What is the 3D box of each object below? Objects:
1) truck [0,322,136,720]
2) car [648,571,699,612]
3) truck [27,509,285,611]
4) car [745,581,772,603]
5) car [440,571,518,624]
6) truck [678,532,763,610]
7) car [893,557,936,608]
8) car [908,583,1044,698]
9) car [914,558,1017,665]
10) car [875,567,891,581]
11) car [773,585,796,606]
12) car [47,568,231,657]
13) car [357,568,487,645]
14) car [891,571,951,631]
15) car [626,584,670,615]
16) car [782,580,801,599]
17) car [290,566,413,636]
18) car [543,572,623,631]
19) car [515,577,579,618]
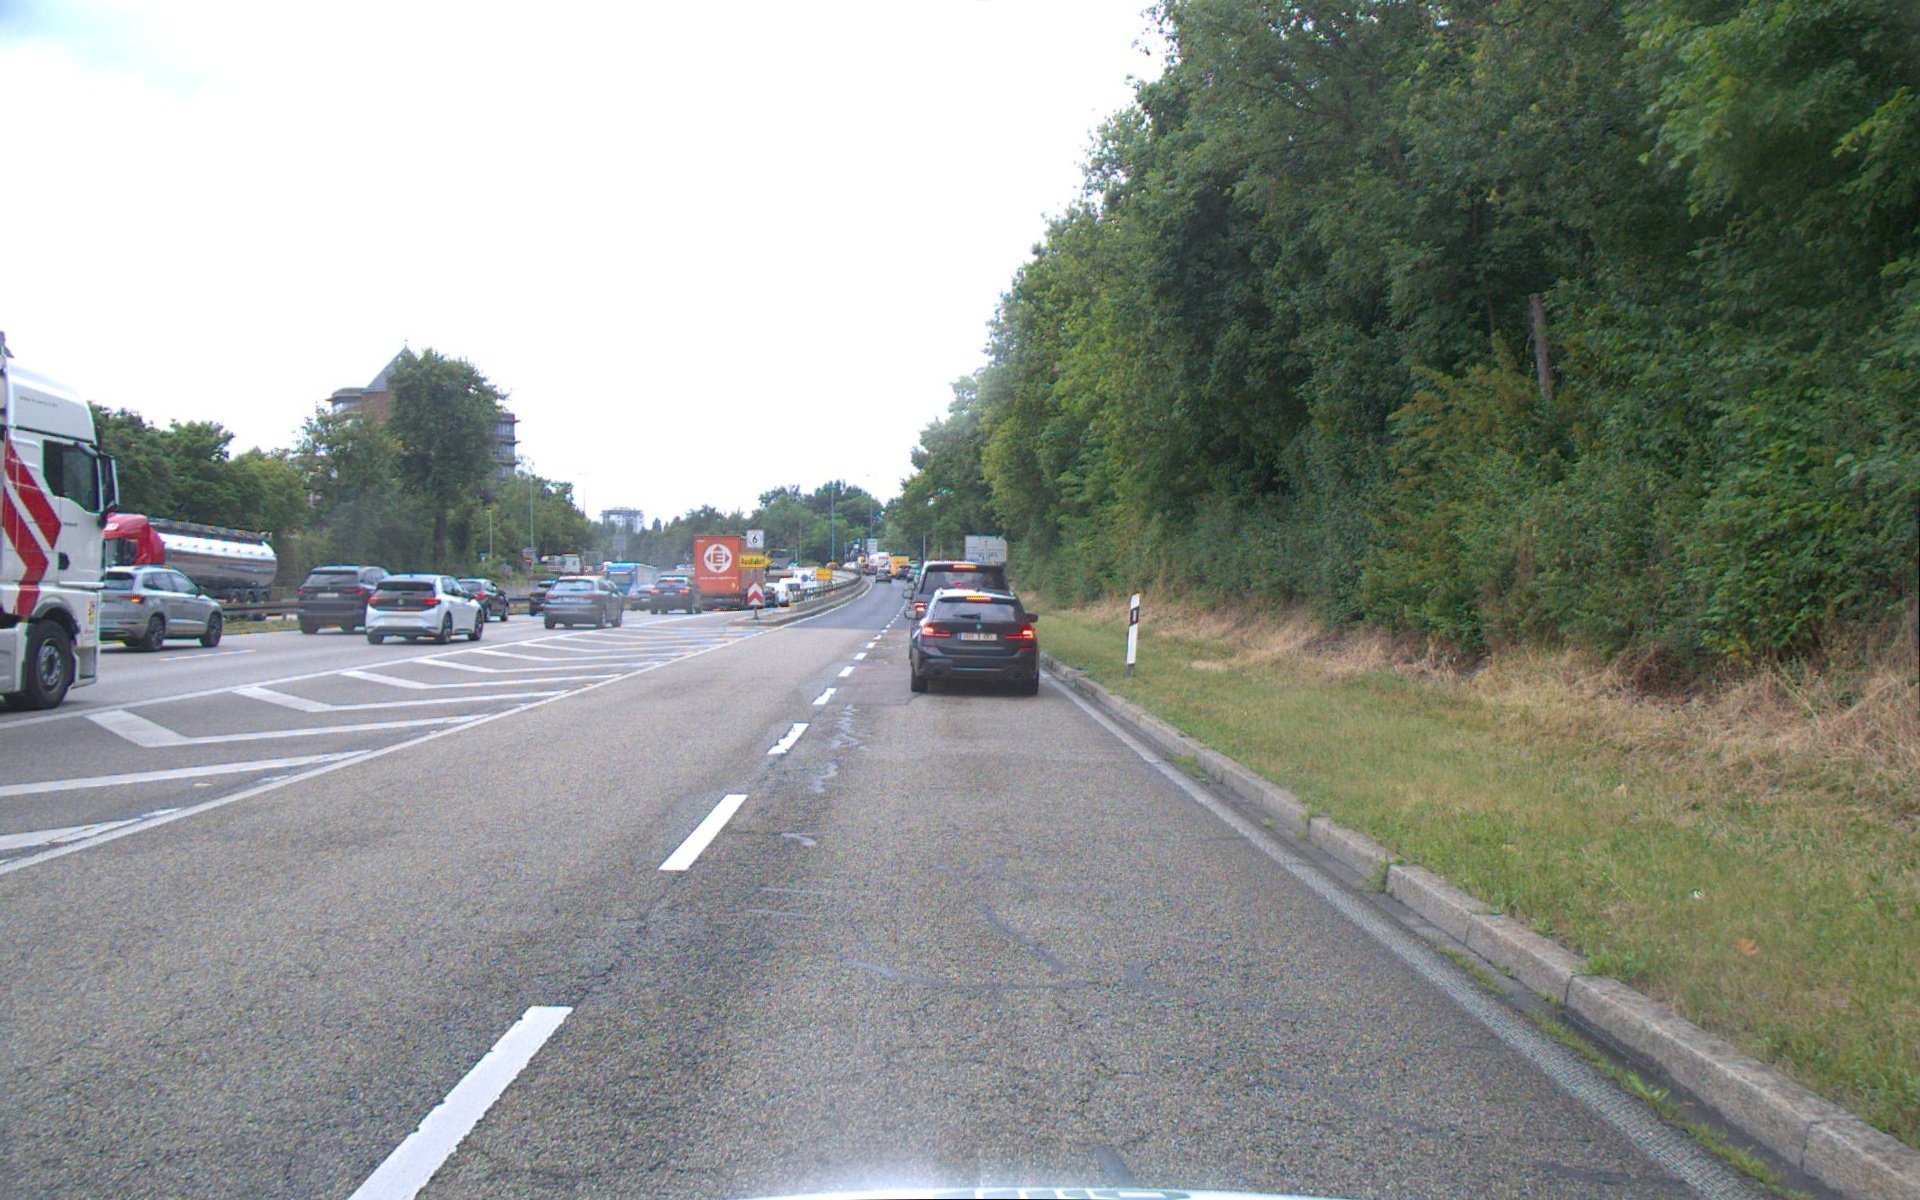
[{"bbox_3d":[-11.241,-0.825,16.160,3.136,4.016,7.067,1,0,-4],"label":"truck"},{"bbox_3d":[-13.393,-0.371,77.585,1.823,1.847,3.998,1,0,-3],"label":"car"},{"bbox_3d":[-28.253,-1.246,59.285,3.004,3.137,14.657,1,0,-4],"label":"truck"},{"bbox_3d":[-14.166,-0.580,116.579,1.743,1.508,3.996,0,1,-5],"label":"car"},{"bbox_3d":[-16.655,-0.069,57.436,1.683,1.746,3.997,1,0,-3],"label":"car"},{"bbox_3d":[-13.585,-1.640,95.071,3.420,4.144,13.586,0,1,-2],"label":"truck"},{"bbox_3d":[-1.899,-0.724,68.368,1.573,2.049,3.997,0,1,-4],"label":"car"},{"bbox_3d":[0.150,0.514,24.021,1.788,1.508,3.999,0,1,-2],"label":"car"},{"bbox_3d":[0.063,0.208,31.225,1.786,1.853,3.999,1,0,-1],"label":"car"},{"bbox_3d":[-8.471,-2.828,181.911,1.789,1.508,3.998,1,0,-3],"label":"car"},{"bbox_3d":[-13.514,-0.338,127.422,1.526,1.579,3.815,1,0,-4],"label":"car"},{"bbox_3d":[-15.962,0.213,32.388,1.694,1.629,3.927,0,1,-1],"label":"car"},{"bbox_3d":[-12.315,0.153,38.138,1.764,1.632,4.255,1,0,-3],"label":"car"},{"bbox_3d":[-1.433,0.011,58.865,1.954,2.049,3.997,0,1,-4],"label":"car"},{"bbox_3d":[-17.562,-0.029,93.214,1.822,1.646,3.998,1,0,-2],"label":"car"},{"bbox_3d":[-14.546,-0.914,143.023,1.526,1.579,3.997,0,1,-4],"label":"car"},{"bbox_3d":[-16.157,0.027,44.131,1.836,1.746,3.999,1,0,-1],"label":"car"},{"bbox_3d":[-11.563,0.042,50.948,1.683,1.713,3.997,1,0,-3],"label":"car"},{"bbox_3d":[-17.559,-0.104,70.521,1.822,1.646,3.998,1,0,-2],"label":"car"}]
